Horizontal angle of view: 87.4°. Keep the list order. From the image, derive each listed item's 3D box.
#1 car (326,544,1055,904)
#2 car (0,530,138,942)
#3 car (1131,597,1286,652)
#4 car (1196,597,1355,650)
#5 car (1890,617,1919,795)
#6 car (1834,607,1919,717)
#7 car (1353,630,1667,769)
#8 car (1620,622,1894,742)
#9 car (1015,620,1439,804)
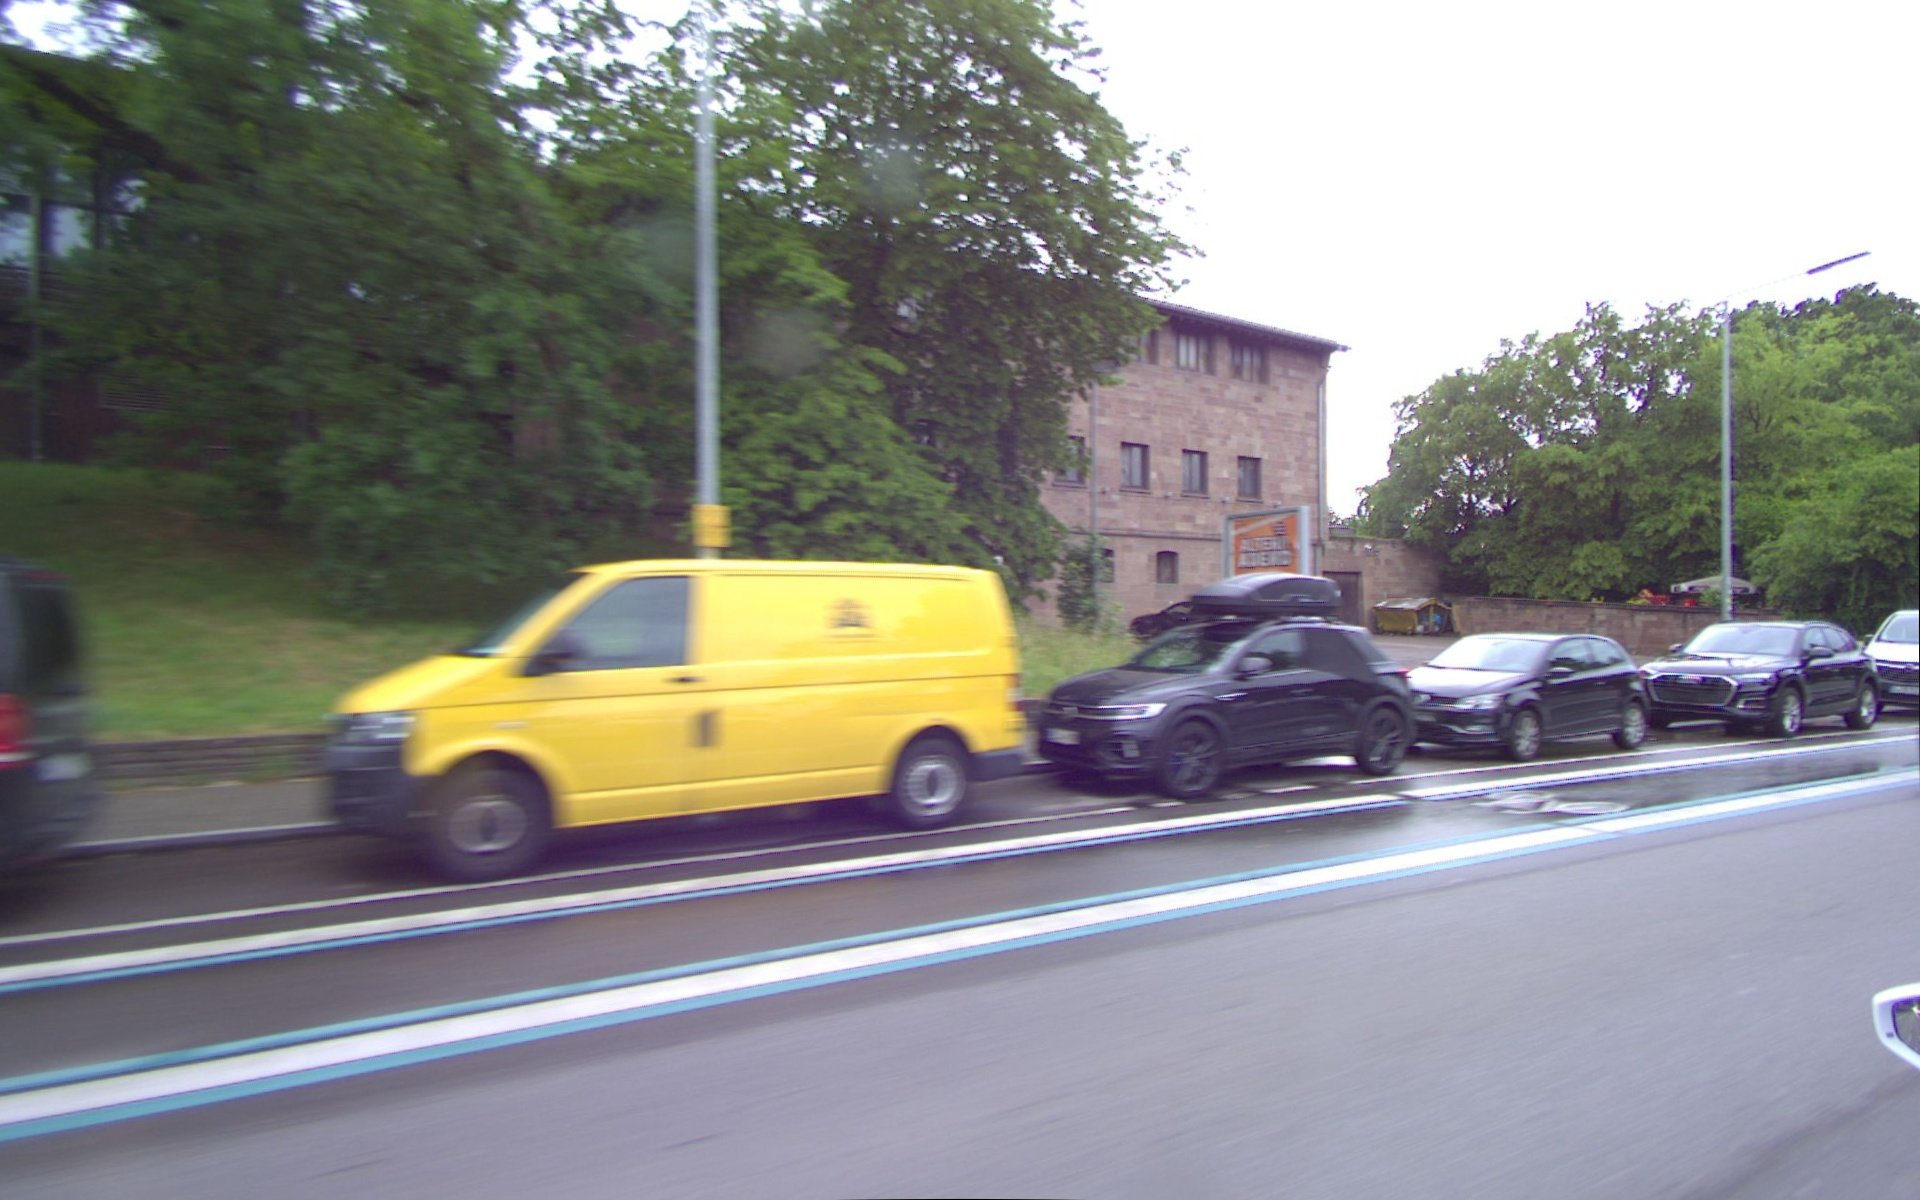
[{"bbox_3d":[-1.821,0.696,7.482,4.787,1.938,1.984,1,0,-30],"label":"car"},{"bbox_3d":[-7.072,0.639,4.360,5.142,1.945,1.868,1,-2,-30],"label":"car"},{"bbox_3d":[7.606,0.719,31.123,2.238,1.451,4.278,2,1,-32],"label":"car"},{"bbox_3d":[10.187,0.699,32.829,2.164,1.499,4.748,0,2,-30],"label":"car"},{"bbox_3d":[10.980,0.974,9.762,4.101,1.639,1.703,0,-2,-30],"label":"car"},{"bbox_3d":[19.174,1.132,19.208,5.160,1.940,1.971,1,0,-27],"label":"car"},{"bbox_3d":[6.874,1.118,12.474,3.990,1.465,1.601,1,-1,-30],"label":"car"},{"bbox_3d":[12.469,1.159,15.649,4.608,1.637,1.815,1,-1,-30],"label":"car"},{"bbox_3d":[2.736,0.971,10.111,4.099,1.524,1.702,1,-1,-29],"label":"car"}]
